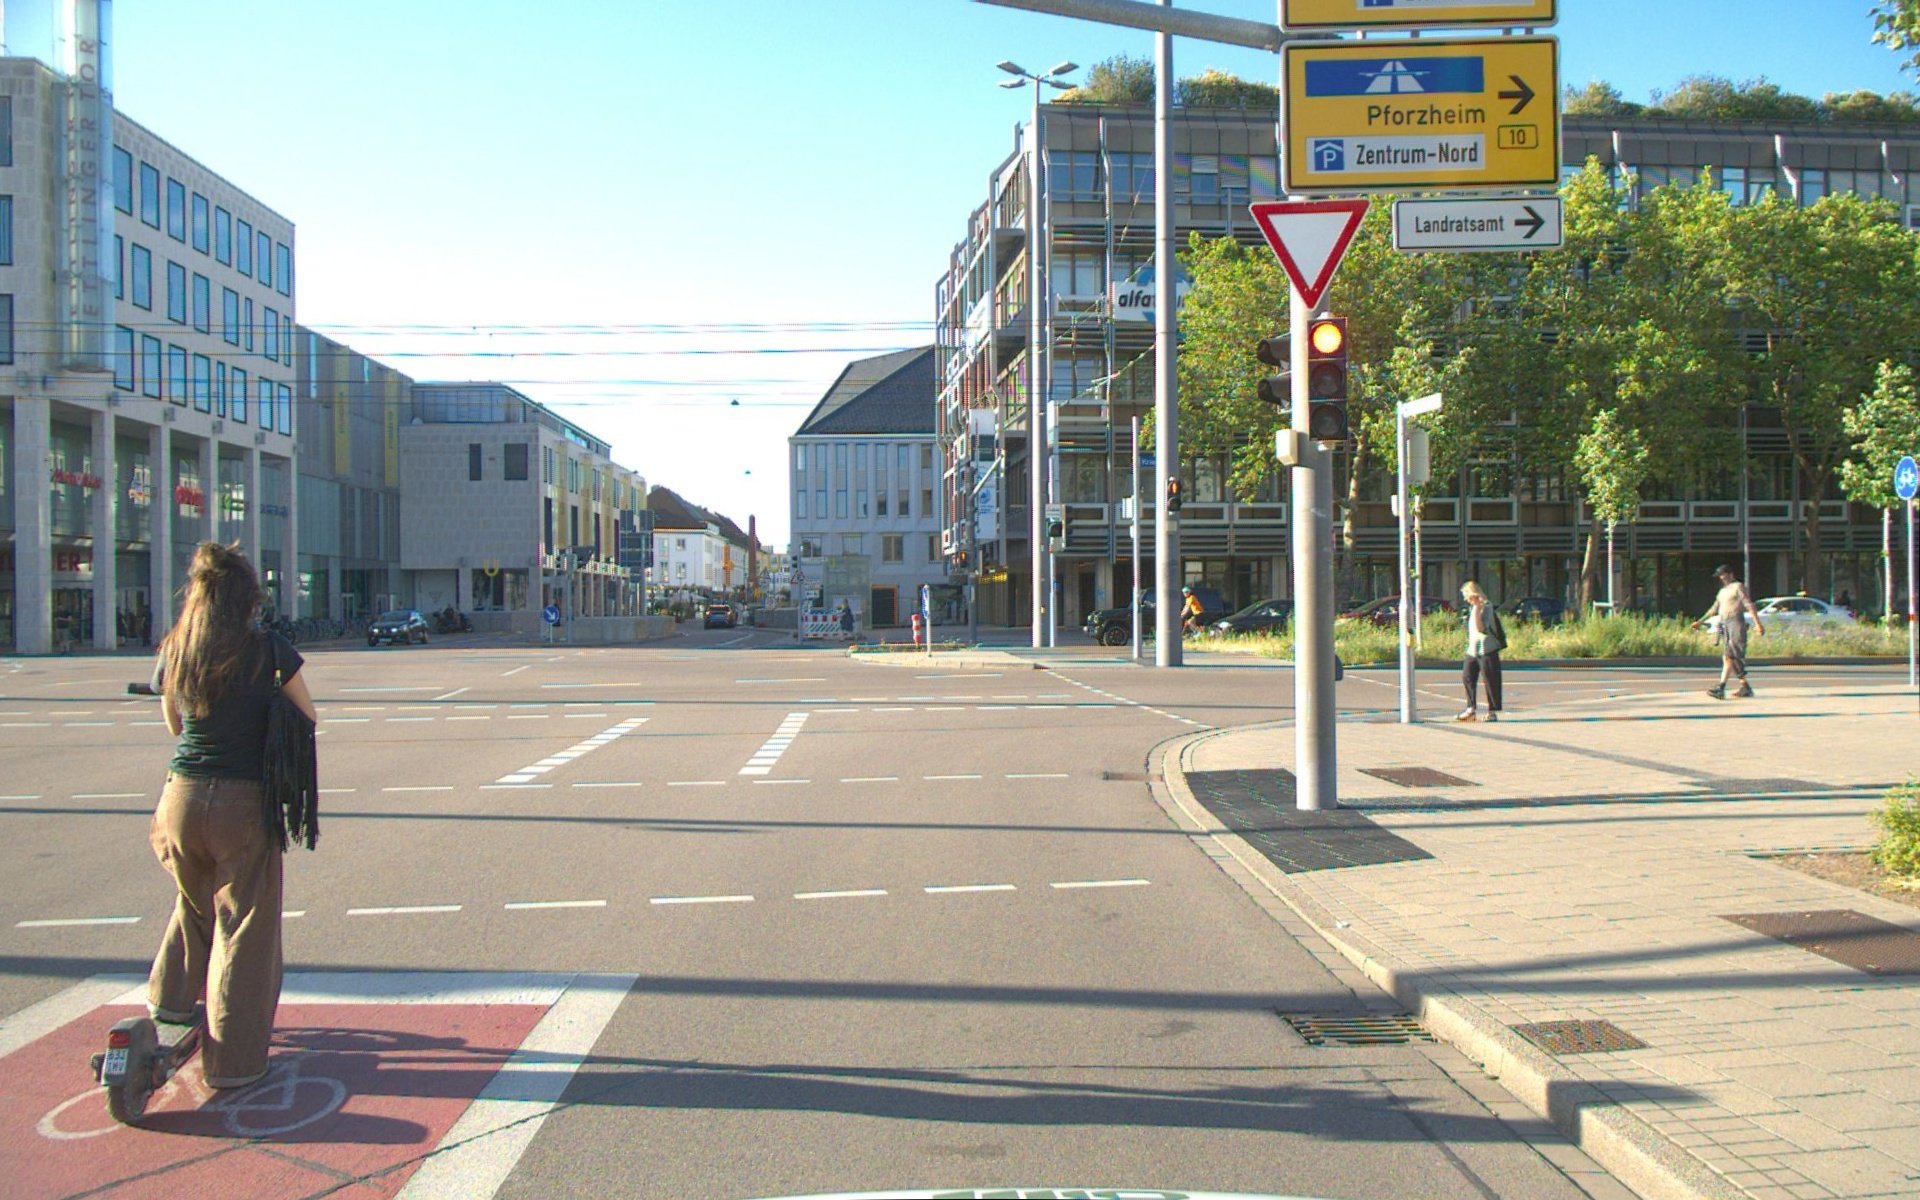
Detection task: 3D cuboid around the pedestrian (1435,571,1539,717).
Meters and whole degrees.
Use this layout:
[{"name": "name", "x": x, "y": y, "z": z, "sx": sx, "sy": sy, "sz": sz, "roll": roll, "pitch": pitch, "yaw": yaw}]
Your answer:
[{"name": "pedestrian", "x": 6.067, "y": 0.491, "z": 19.070, "sx": 0.857, "sy": 1.642, "sz": 0.765, "roll": -1, "pitch": 0, "yaw": -14}]

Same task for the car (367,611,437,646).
[{"name": "car", "x": -23.406, "y": 1.181, "z": 69.505, "sx": 1.642, "sy": 1.381, "sz": 4.019, "roll": -1, "pitch": 0, "yaw": -2}]

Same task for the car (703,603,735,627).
[{"name": "car", "x": -15.697, "y": 0.965, "z": 107.823, "sx": 1.625, "sy": 1.484, "sz": 3.541, "roll": -1, "pitch": 0, "yaw": -1}]

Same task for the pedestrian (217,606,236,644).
[{"name": "pedestrian", "x": -32.494, "y": 1.118, "z": 73.278, "sx": 0.580, "sy": 1.674, "sz": 0.629, "roll": -1, "pitch": 0, "yaw": -1}]

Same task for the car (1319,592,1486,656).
[{"name": "car", "x": 12.446, "y": 0.650, "z": 46.615, "sx": 4.212, "sy": 1.713, "sz": 1.820, "roll": -1, "pitch": 0, "yaw": -11}]

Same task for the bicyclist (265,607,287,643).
[{"name": "bicyclist", "x": -27.700, "y": 1.011, "z": 66.963, "sx": 0.613, "sy": 1.473, "sz": 0.589, "roll": -1, "pitch": 0, "yaw": 0}]

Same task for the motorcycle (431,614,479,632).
[{"name": "motorcycle", "x": -29.839, "y": 1.371, "z": 97.693, "sx": 2.555, "sy": 1.010, "sz": 1.113, "roll": 1, "pitch": 0, "yaw": -10}]

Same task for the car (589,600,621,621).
[{"name": "car", "x": -26.153, "y": 0.793, "z": 121.792, "sx": 1.625, "sy": 1.484, "sz": 3.541, "roll": -1, "pitch": 0, "yaw": -1}]

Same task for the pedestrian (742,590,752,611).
[{"name": "pedestrian", "x": -21.144, "y": 0.054, "z": 164.362, "sx": 0.892, "sy": 1.999, "sz": 0.822, "roll": 1, "pitch": -1, "yaw": -1}]

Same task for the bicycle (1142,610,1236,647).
[{"name": "bicycle", "x": 6.517, "y": 0.799, "z": 47.200, "sx": 2.517, "sy": 0.992, "sz": 1.047, "roll": -1, "pitch": 0, "yaw": -4}]

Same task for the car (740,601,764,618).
[{"name": "car", "x": -18.328, "y": 0.845, "z": 145.813, "sx": 1.625, "sy": 1.484, "sz": 3.541, "roll": -1, "pitch": 0, "yaw": -1}]

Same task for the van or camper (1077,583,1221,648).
[{"name": "van or camper", "x": 6.091, "y": 0.489, "z": 53.660, "sx": 4.329, "sy": 2.049, "sz": 1.993, "roll": -1, "pitch": 0, "yaw": -5}]

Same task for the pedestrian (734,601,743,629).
[{"name": "pedestrian", "x": -13.182, "y": 0.880, "z": 98.460, "sx": 0.481, "sy": 1.693, "sz": 0.529, "roll": 1, "pitch": -1, "yaw": -15}]

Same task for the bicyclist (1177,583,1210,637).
[{"name": "bicyclist", "x": 6.673, "y": 0.280, "z": 47.221, "sx": 0.806, "sy": 1.500, "sz": 0.652, "roll": -1, "pitch": 0, "yaw": -5}]

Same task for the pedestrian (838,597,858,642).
[{"name": "pedestrian", "x": -4.350, "y": 0.741, "z": 64.246, "sx": 0.685, "sy": 1.718, "sz": 0.619, "roll": -1, "pitch": 0, "yaw": 0}]

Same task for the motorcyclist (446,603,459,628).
[{"name": "motorcyclist", "x": -30.056, "y": 0.910, "z": 97.900, "sx": 0.616, "sy": 1.430, "sz": 0.661, "roll": 1, "pitch": -1, "yaw": -9}]

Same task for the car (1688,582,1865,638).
[{"name": "car", "x": 25.868, "y": 0.311, "z": 52.483, "sx": 4.749, "sy": 1.713, "sz": 1.824, "roll": -1, "pitch": 0, "yaw": -4}]

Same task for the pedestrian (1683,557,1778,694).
[{"name": "pedestrian", "x": 9.999, "y": 0.320, "z": 21.483, "sx": 0.854, "sy": 1.736, "sz": 0.768, "roll": -1, "pitch": 0, "yaw": -3}]

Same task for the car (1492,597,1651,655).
[{"name": "car", "x": 19.136, "y": 0.802, "z": 51.877, "sx": 4.317, "sy": 1.713, "sz": 1.824, "roll": -1, "pitch": 0, "yaw": -4}]

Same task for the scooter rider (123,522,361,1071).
[{"name": "scooter rider", "x": -2.134, "y": 0.554, "z": 4.960, "sx": 0.542, "sy": 1.556, "sz": 0.448, "roll": -1, "pitch": 0, "yaw": -9}]

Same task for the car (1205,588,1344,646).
[{"name": "car", "x": 9.602, "y": 0.510, "z": 50.649, "sx": 3.907, "sy": 1.713, "sz": 1.761, "roll": -1, "pitch": 0, "yaw": -2}]

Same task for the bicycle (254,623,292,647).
[{"name": "bicycle", "x": -27.694, "y": 1.414, "z": 66.704, "sx": 0.622, "sy": 0.919, "sz": 2.218, "roll": -1, "pitch": 0, "yaw": 0}]

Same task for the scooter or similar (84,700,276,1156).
[{"name": "scooter or similar", "x": -2.208, "y": 0.878, "z": 4.737, "sx": 0.301, "sy": 1.127, "sz": 0.836, "roll": -1, "pitch": 0, "yaw": -12}]

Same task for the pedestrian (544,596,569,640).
[{"name": "pedestrian", "x": -15.525, "y": 0.676, "z": 63.661, "sx": 0.760, "sy": 1.667, "sz": 0.626, "roll": -1, "pitch": 0, "yaw": 9}]
